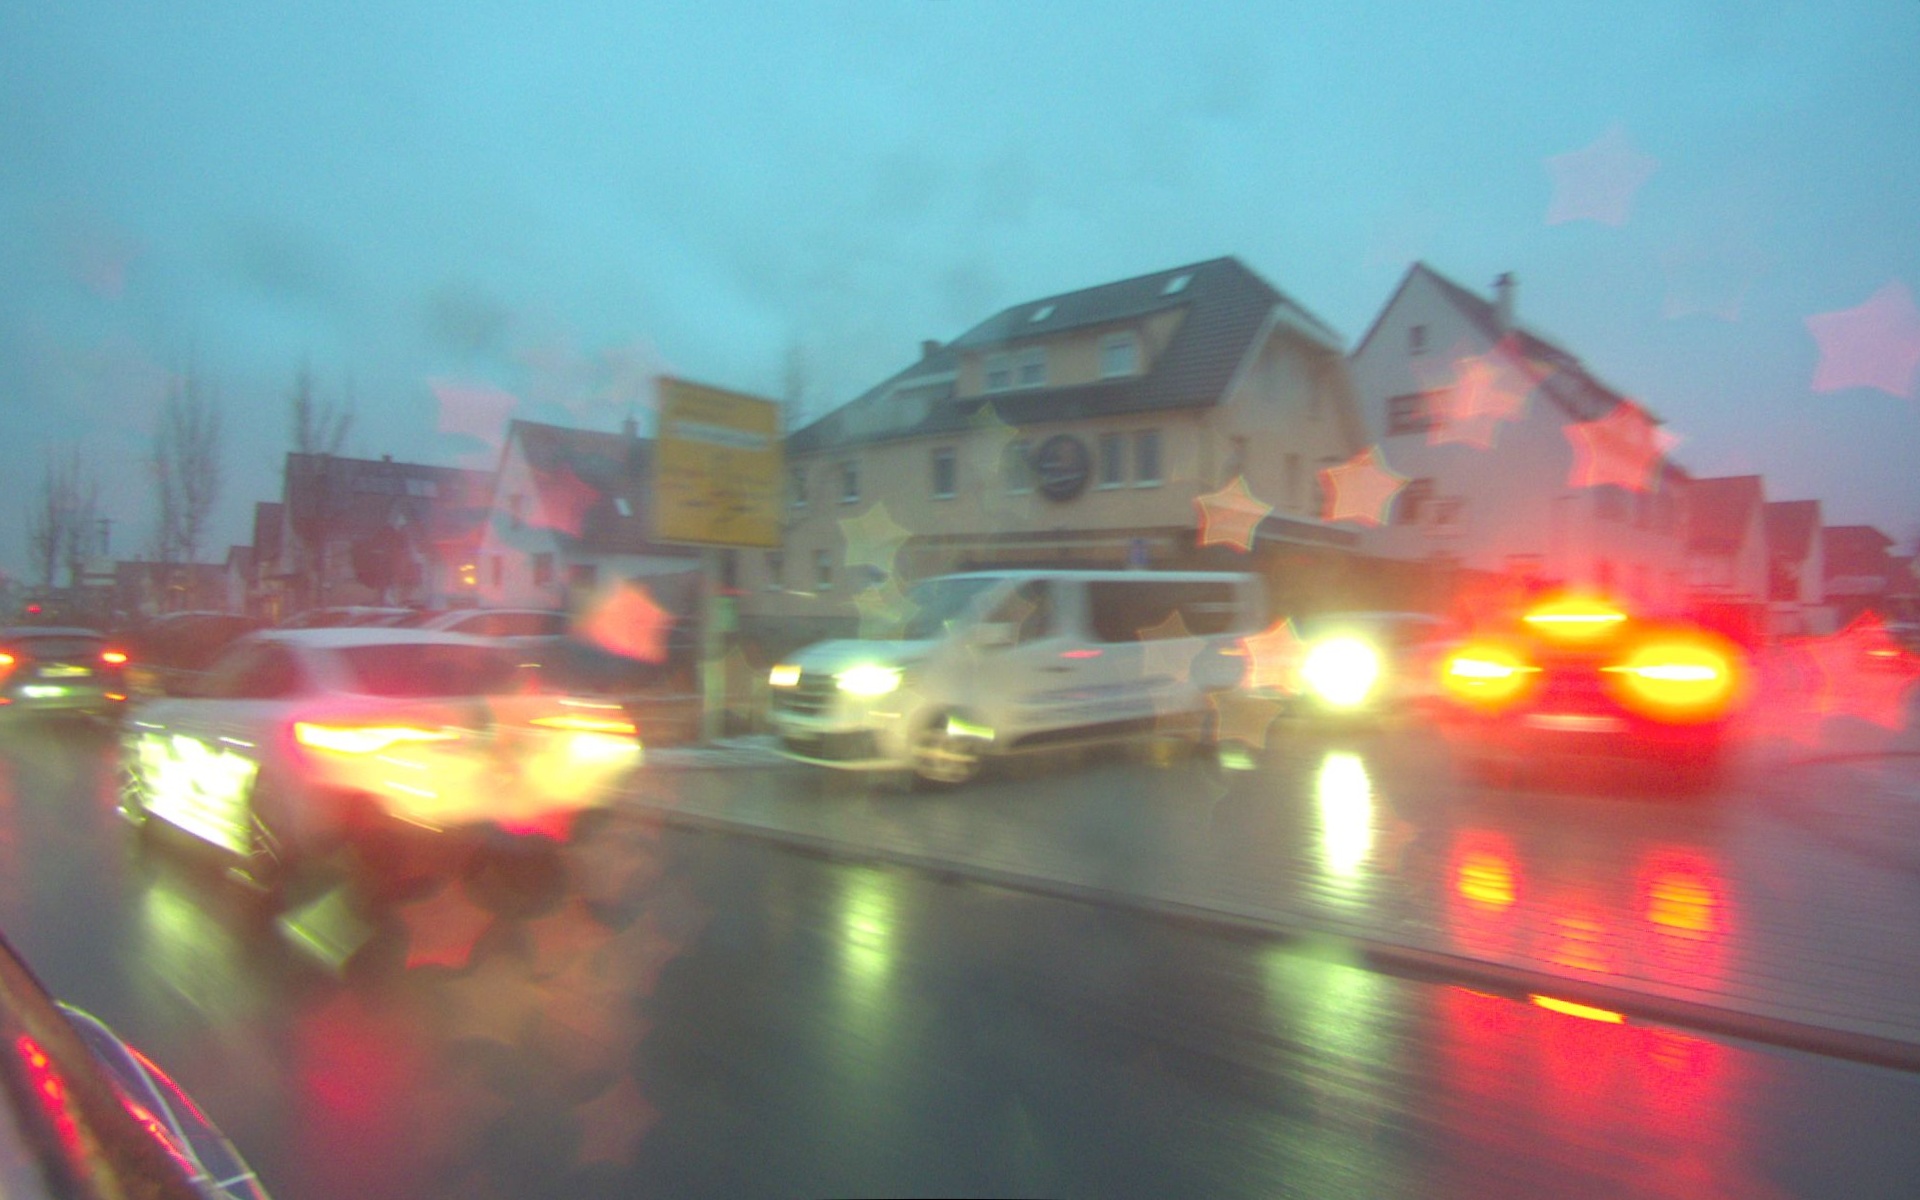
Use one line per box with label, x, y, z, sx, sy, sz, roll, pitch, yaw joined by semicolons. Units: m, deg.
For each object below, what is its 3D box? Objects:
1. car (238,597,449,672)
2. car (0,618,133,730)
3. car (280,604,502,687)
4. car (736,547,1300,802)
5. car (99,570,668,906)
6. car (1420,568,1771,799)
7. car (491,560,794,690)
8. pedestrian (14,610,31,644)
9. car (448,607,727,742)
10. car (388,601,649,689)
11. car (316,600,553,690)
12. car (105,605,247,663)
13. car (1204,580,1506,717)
car;-16.135;0.915;26.667;1.843;1.815;4.368;-2;-3;40
car;-13.887;1.058;15.140;3.835;1.492;1.603;-2;-4;40
car;-14.067;1.105;25.257;1.867;1.881;4.456;-2;-3;40
car;0.814;0.593;10.261;5.684;1.961;1.995;0;-2;-36
car;-4.067;0.705;6.779;4.544;1.530;1.807;-2;-3;40
car;6.177;0.647;9.581;2.154;1.644;4.388;-1;-2;41
car;-4.692;0.402;15.371;1.999;1.697;3.946;-2;-3;40
pedestrian;-56.055;1.621;60.493;0.604;2.029;0.665;-1;-1;40
car;-6.076;1.219;16.878;1.748;1.966;3.987;-2;-5;40
car;-9.455;0.975;22.018;2.000;1.697;4.813;-3;-4;42
car;-12.064;1.017;23.492;1.998;1.881;4.456;-2;-3;40
car;-28.681;1.288;37.111;1.748;1.966;3.756;-2;-5;40
car;5.735;0.740;14.428;4.694;1.648;2.003;4;-5;-40
